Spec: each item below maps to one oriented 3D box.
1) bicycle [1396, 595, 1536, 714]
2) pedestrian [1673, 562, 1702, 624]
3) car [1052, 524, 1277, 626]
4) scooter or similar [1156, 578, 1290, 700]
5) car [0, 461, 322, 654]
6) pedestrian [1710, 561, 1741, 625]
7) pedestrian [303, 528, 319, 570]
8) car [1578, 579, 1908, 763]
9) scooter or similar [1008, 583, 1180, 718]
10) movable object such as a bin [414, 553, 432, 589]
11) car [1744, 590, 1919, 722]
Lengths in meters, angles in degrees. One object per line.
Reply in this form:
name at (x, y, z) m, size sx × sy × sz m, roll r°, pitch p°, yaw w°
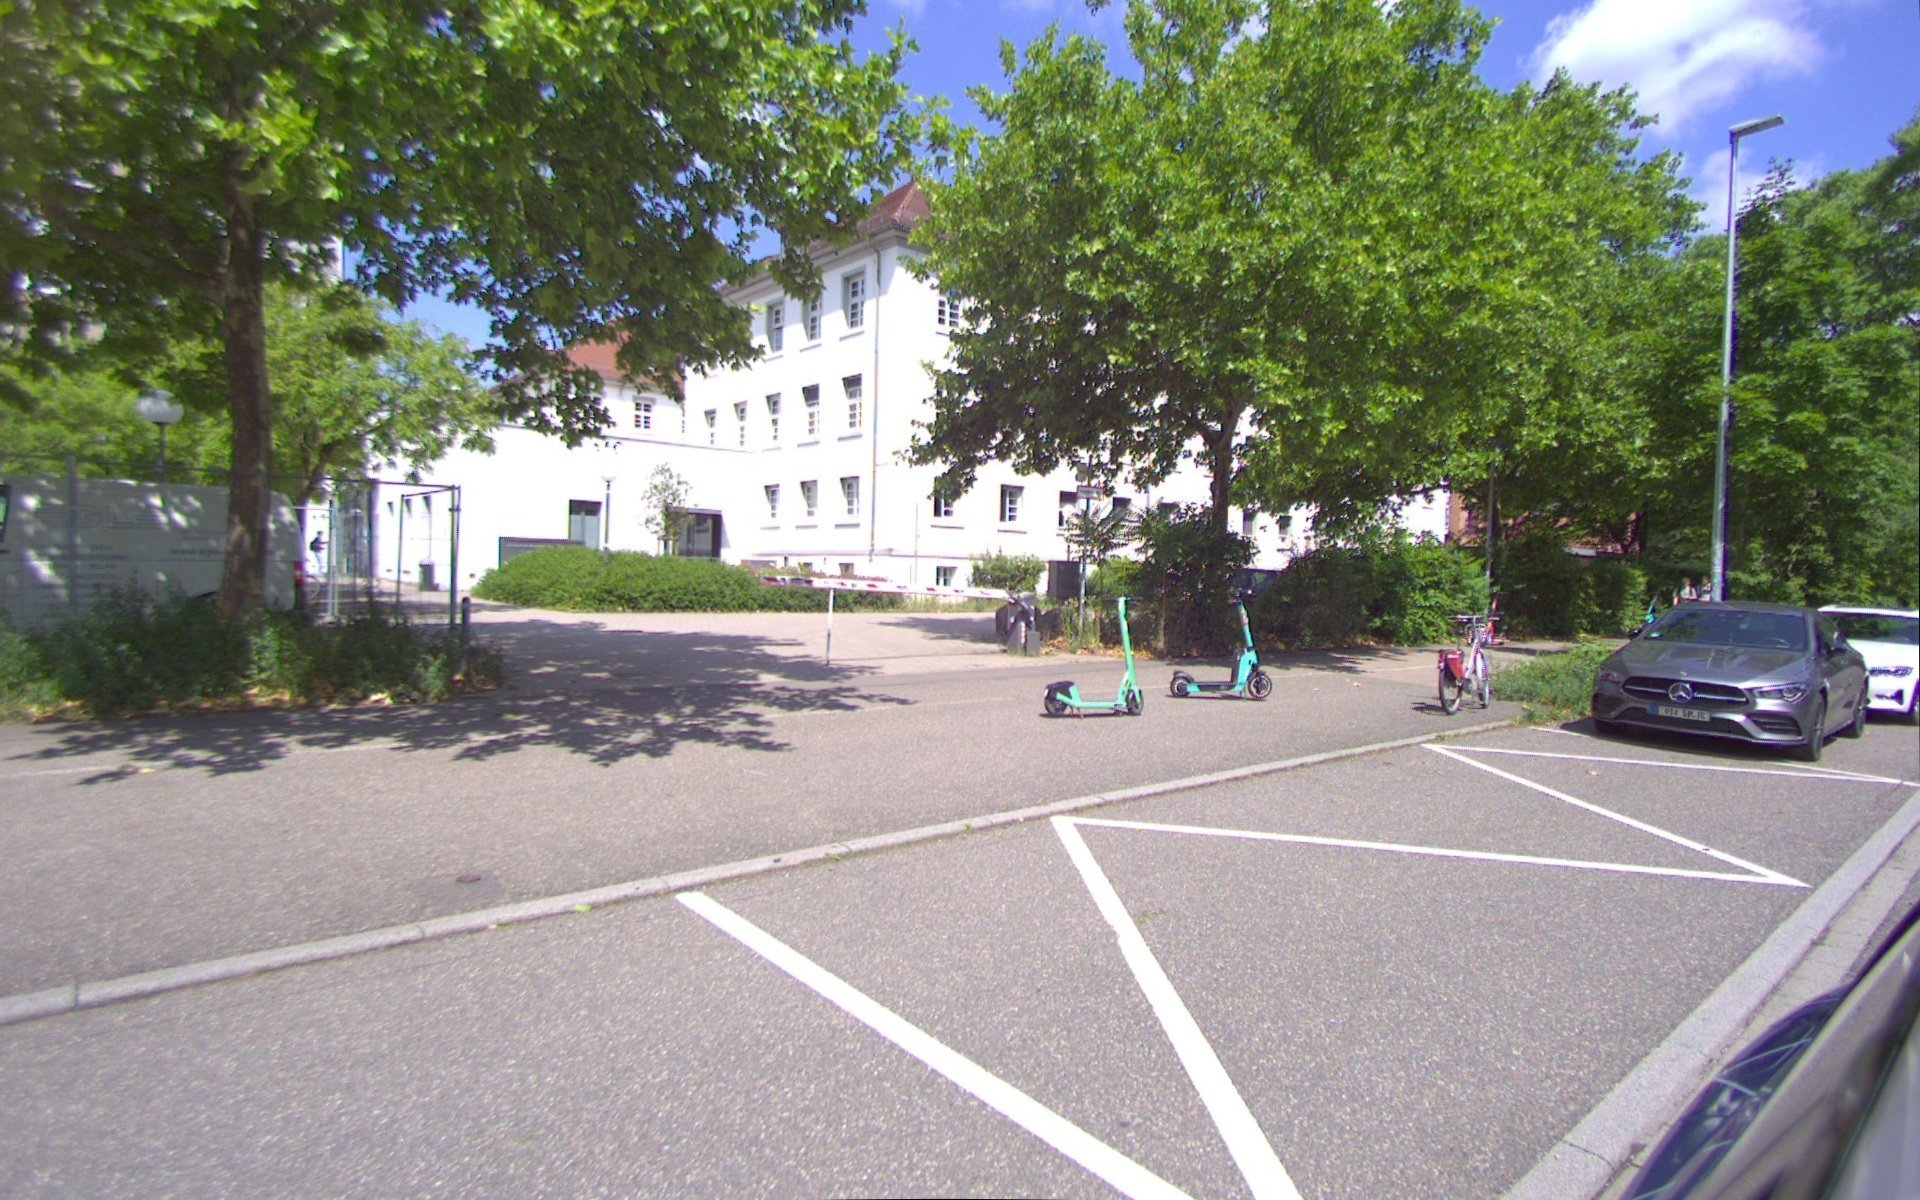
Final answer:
bicycle at (5.742, 0.572, 11.424) m, size 2.082 × 1.205 × 0.639 m, roll 1°, pitch 3°, yaw -42°
pedestrian at (21.371, -0.200, 29.737) m, size 0.680 × 1.803 × 0.781 m, roll 0°, pitch 0°, yaw 36°
car at (3.966, -0.458, 20.032) m, size 1.967 × 1.805 × 3.990 m, roll -1°, pitch 0°, yaw -43°
scooter or similar at (2.905, 0.422, 11.239) m, size 1.263 × 1.261 × 0.531 m, roll 2°, pitch 2°, yaw -6°
car at (-9.823, -0.437, 10.796) m, size 4.860 × 1.888 × 1.899 m, roll -1°, pitch 1°, yaw -44°
pedestrian at (21.973, -0.196, 29.057) m, size 0.680 × 1.803 × 0.781 m, roll 0°, pitch 0°, yaw 36°
pedestrian at (-27.277, -2.148, 42.528) m, size 0.443 × 1.738 × 0.498 m, roll 4°, pitch 3°, yaw 44°
car at (8.660, 0.625, 11.014) m, size 4.855 × 1.496 × 1.861 m, roll 1°, pitch 3°, yaw -41°
scooter or similar at (1.283, 0.466, 9.618) m, size 1.542 × 1.183 × 0.531 m, roll 1°, pitch 2°, yaw -27°
movable object such as a bin at (-16.167, -0.884, 30.475) m, size 0.388 × 1.068 × 0.362 m, roll 4°, pitch 3°, yaw 44°
car at (12.895, 0.686, 14.017) m, size 4.846 × 1.468 × 1.745 m, roll 1°, pitch 3°, yaw -34°
